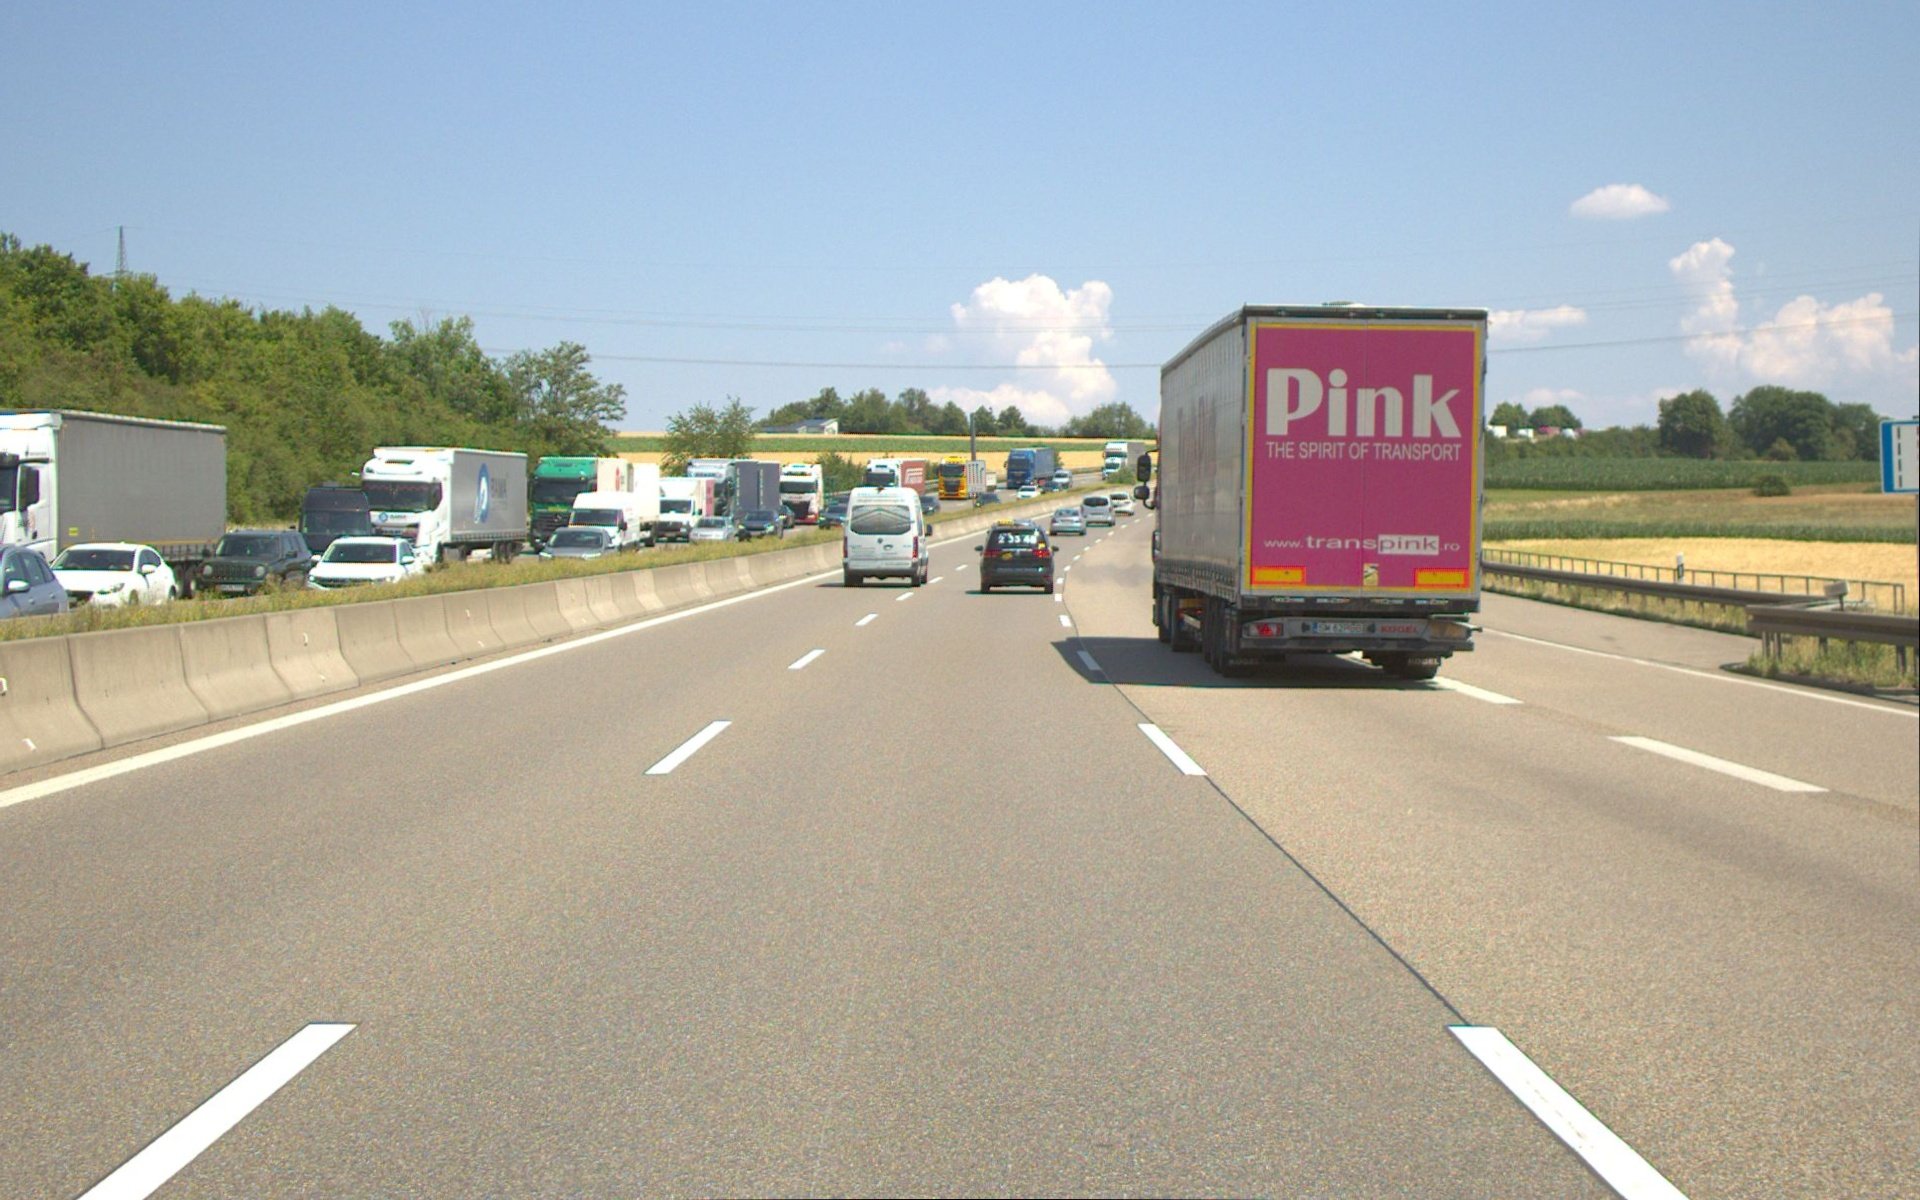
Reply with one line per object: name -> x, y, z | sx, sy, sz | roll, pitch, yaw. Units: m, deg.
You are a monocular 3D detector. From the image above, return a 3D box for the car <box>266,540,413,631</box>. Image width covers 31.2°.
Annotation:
car -> -11.617, -0.273, 64.623 | 1.993, 1.638, 4.407 | 0, 0, 0

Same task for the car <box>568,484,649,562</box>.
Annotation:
car -> -13.127, -2.835, 128.865 | 2.139, 2.776, 6.625 | 1, 0, 2

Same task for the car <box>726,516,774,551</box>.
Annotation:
car -> -10.468, -3.311, 171.848 | 1.861, 1.636, 5.113 | 0, 0, 3

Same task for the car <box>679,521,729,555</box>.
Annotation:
car -> -11.641, -2.834, 156.851 | 1.752, 1.455, 4.858 | 1, 0, 2

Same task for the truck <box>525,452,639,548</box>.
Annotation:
truck -> -16.067, -4.324, 146.964 | 2.843, 3.885, 11.247 | -1, 2, 4

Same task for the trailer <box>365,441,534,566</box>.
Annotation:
trailer -> -17.529, -3.346, 119.267 | 2.903, 4.072, 14.444 | 0, 2, 3

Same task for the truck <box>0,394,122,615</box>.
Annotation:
truck -> -19.188, -1.895, 68.769 | 2.962, 4.195, 6.604 | 1, 1, 2

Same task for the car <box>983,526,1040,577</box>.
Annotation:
car -> 1.831, -1.711, 122.592 | 1.993, 1.744, 4.000 | 1, 0, 1

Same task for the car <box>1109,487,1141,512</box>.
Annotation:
car -> 11.502, -6.985, 239.264 | 1.994, 1.546, 4.000 | 1, 4, 6

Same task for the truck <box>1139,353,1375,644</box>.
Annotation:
truck -> 4.291, -1.501, 50.959 | 2.916, 3.994, 6.511 | 1, 2, 0

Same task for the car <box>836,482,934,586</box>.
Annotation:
car -> -1.927, -1.701, 89.753 | 2.180, 2.616, 4.672 | 1, 0, 3

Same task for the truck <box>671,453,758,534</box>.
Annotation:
truck -> -13.201, -5.781, 185.581 | 3.002, 4.219, 10.733 | 0, 2, 5

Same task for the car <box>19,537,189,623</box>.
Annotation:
car -> -15.066, -0.356, 60.726 | 1.881, 1.469, 4.407 | 0, 0, 0

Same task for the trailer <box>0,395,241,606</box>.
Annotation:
trailer -> -19.012, -2.125, 75.874 | 2.982, 4.192, 14.193 | 1, 1, 1

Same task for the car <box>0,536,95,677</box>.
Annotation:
car -> -11.725, 0.037, 40.348 | 1.993, 1.573, 4.595 | 0, 1, 0

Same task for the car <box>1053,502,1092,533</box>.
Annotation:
car -> 5.989, -4.366, 182.350 | 1.994, 1.579, 4.000 | 0, 1, 3

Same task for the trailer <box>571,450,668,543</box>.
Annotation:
trailer -> -15.434, -4.737, 156.543 | 2.920, 4.057, 8.229 | -1, 2, 4

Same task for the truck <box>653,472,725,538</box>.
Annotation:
truck -> -13.543, -4.799, 172.315 | 2.538, 3.196, 7.589 | 0, 2, 4

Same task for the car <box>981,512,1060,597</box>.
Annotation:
car -> 1.441, -1.131, 83.681 | 1.847, 1.854, 4.206 | 0, 4, 0

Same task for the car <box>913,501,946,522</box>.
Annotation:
car -> -2.225, -6.490, 251.282 | 1.994, 1.450, 5.170 | 0, 2, 4

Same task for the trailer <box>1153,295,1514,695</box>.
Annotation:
trailer -> 4.244, -1.282, 42.420 | 2.918, 4.103, 13.859 | 1, 2, 0

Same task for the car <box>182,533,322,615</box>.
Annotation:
car -> -15.292, -0.593, 74.480 | 1.993, 1.709, 4.792 | 0, 1, 1

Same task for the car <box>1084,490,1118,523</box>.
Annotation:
car -> 8.455, -5.578, 206.349 | 1.993, 1.897, 4.000 | 0, 0, 2

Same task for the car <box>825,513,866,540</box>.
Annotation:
car -> -6.783, -4.393, 203.991 | 1.994, 1.540, 5.494 | 0, 2, 3

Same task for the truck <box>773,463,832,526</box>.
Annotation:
truck -> -9.998, -6.725, 218.389 | 2.901, 3.863, 6.177 | 1, 2, 5

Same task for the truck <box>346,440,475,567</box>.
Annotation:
truck -> -17.852, -3.147, 112.097 | 2.853, 4.022, 6.604 | 0, 2, 2
